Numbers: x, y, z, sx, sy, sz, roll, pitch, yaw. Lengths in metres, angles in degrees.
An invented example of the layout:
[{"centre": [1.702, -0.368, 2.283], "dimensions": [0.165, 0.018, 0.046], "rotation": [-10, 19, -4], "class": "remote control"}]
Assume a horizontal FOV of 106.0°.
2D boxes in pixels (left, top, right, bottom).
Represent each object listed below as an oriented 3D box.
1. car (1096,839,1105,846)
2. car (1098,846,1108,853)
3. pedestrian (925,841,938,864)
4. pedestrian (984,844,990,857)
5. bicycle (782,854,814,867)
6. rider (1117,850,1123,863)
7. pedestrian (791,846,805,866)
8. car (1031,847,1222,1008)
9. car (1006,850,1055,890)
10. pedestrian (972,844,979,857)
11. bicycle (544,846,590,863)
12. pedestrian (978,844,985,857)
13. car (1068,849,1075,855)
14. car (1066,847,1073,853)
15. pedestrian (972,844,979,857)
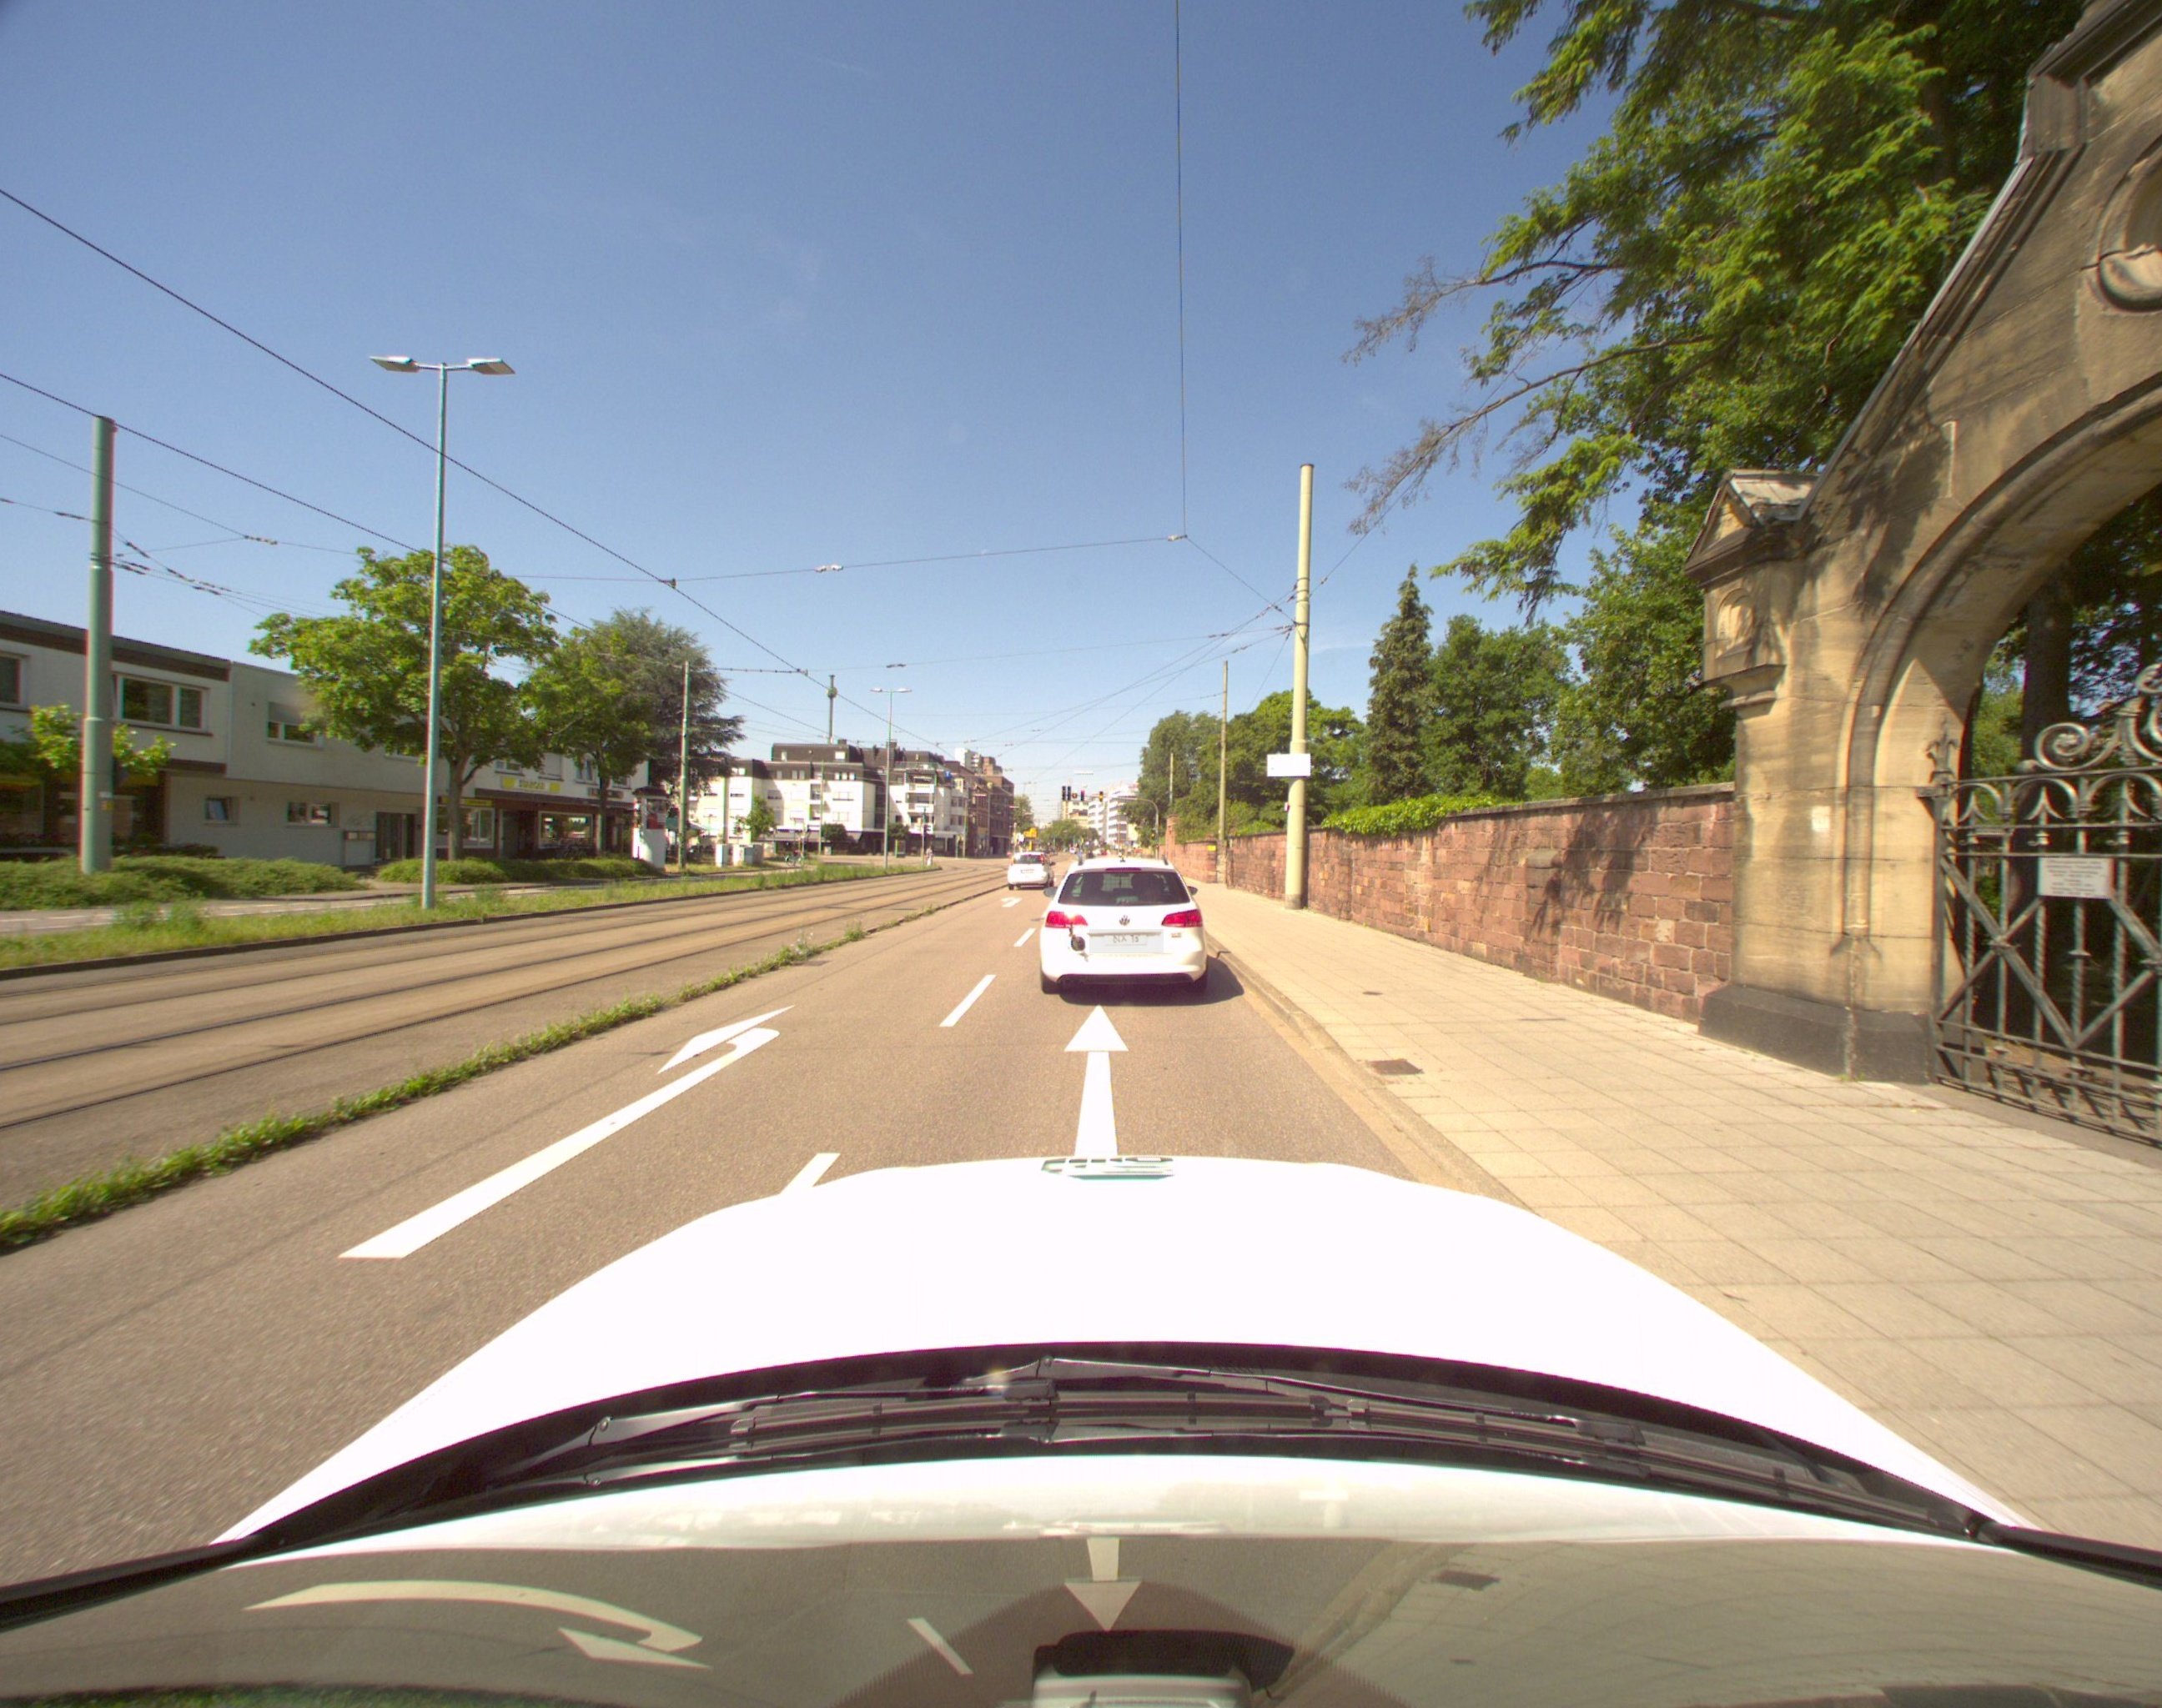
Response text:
[{"centre": [6.111, -3.613, 253.063], "dimensions": [1.995, 2.013, 3.984], "rotation": [1, 0, -12], "class": "car"}, {"centre": [6.372, -1.251, 238.624], "dimensions": [1.995, 2.013, 3.984], "rotation": [1, 0, -12], "class": "car"}, {"centre": [-11.229, -0.131, 61.118], "dimensions": [0.825, 1.738, 0.930], "rotation": [1, 0, -6], "class": "pedestrian"}, {"centre": [-15.240, -0.561, 132.317], "dimensions": [0.935, 2.013, 0.989], "rotation": [1, 0, -4], "class": "pedestrian"}, {"centre": [-20.667, 0.453, 59.566], "dimensions": [2.189, 0.921, 0.547], "rotation": [0, 0, -43], "class": "bicycle"}, {"centre": [5.739, 0.359, 119.633], "dimensions": [0.887, 1.728, 2.205], "rotation": [1, 0, 2], "class": "rider"}, {"centre": [-20.872, 0.138, 60.146], "dimensions": [0.820, 1.487, 0.559], "rotation": [1, 0, -43], "class": "pedestrian"}, {"centre": [0.510, 0.683, 9.645], "dimensions": [1.772, 1.490, 3.849], "rotation": [-1, 0, 2], "class": "car"}, {"centre": [-2.098, 0.626, 34.811], "dimensions": [1.724, 1.596, 4.012], "rotation": [1, 0, 1], "class": "car"}, {"centre": [-17.144, -0.595, 132.028], "dimensions": [0.934, 2.013, 0.990], "rotation": [1, 0, -3], "class": "pedestrian"}, {"centre": [-26.664, 0.020, 42.309], "dimensions": [0.780, 0.888, 2.392], "rotation": [1, 0, 2], "class": "bicycle"}, {"centre": [-16.273, -0.583, 133.269], "dimensions": [0.935, 2.013, 0.989], "rotation": [1, 0, -4], "class": "pedestrian"}, {"centre": [-2.832, -0.664, 242.161], "dimensions": [1.698, 1.591, 3.524], "rotation": [1, 0, -9], "class": "car"}, {"centre": [-3.053, -1.002, 212.316], "dimensions": [1.692, 1.591, 3.535], "rotation": [0, 0, 1], "class": "car"}, {"centre": [-16.371, -0.567, 126.734], "dimensions": [0.934, 2.013, 0.990], "rotation": [1, 0, -2], "class": "pedestrian"}]
